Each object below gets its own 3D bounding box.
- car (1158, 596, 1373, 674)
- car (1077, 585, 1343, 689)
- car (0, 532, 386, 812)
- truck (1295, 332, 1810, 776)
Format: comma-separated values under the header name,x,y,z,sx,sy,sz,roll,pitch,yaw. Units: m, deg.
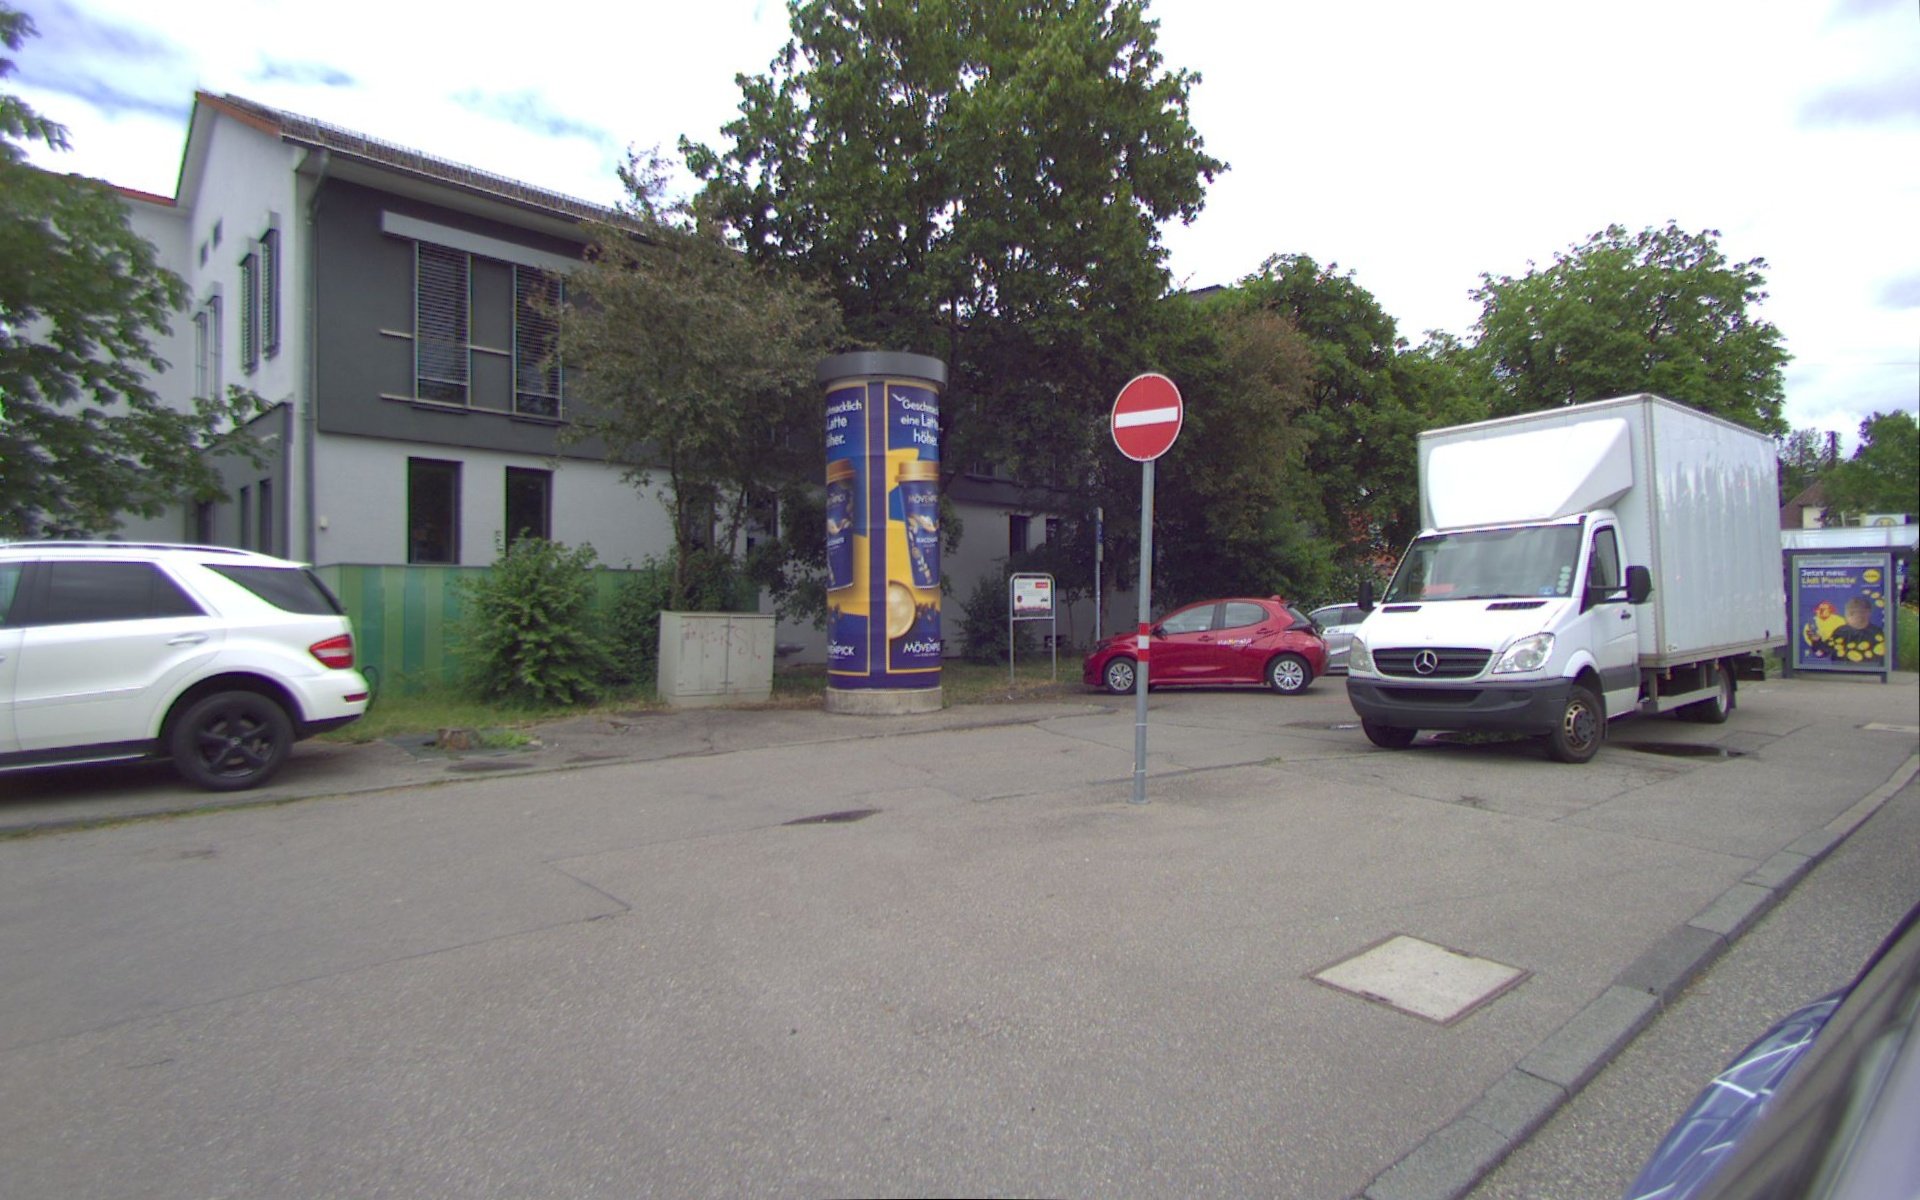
name,x,y,z,sx,sy,sz,roll,pitch,yaw
car,6.066,0.697,20.317,3.946,1.428,1.516,-2,-1,18
car,3.978,0.604,16.154,3.856,1.502,1.669,-2,-1,25
car,-6.807,0.456,7.044,4.640,1.780,1.855,0,0,-41
truck,7.009,-0.422,11.342,7.638,3.469,2.540,-1,0,-40
